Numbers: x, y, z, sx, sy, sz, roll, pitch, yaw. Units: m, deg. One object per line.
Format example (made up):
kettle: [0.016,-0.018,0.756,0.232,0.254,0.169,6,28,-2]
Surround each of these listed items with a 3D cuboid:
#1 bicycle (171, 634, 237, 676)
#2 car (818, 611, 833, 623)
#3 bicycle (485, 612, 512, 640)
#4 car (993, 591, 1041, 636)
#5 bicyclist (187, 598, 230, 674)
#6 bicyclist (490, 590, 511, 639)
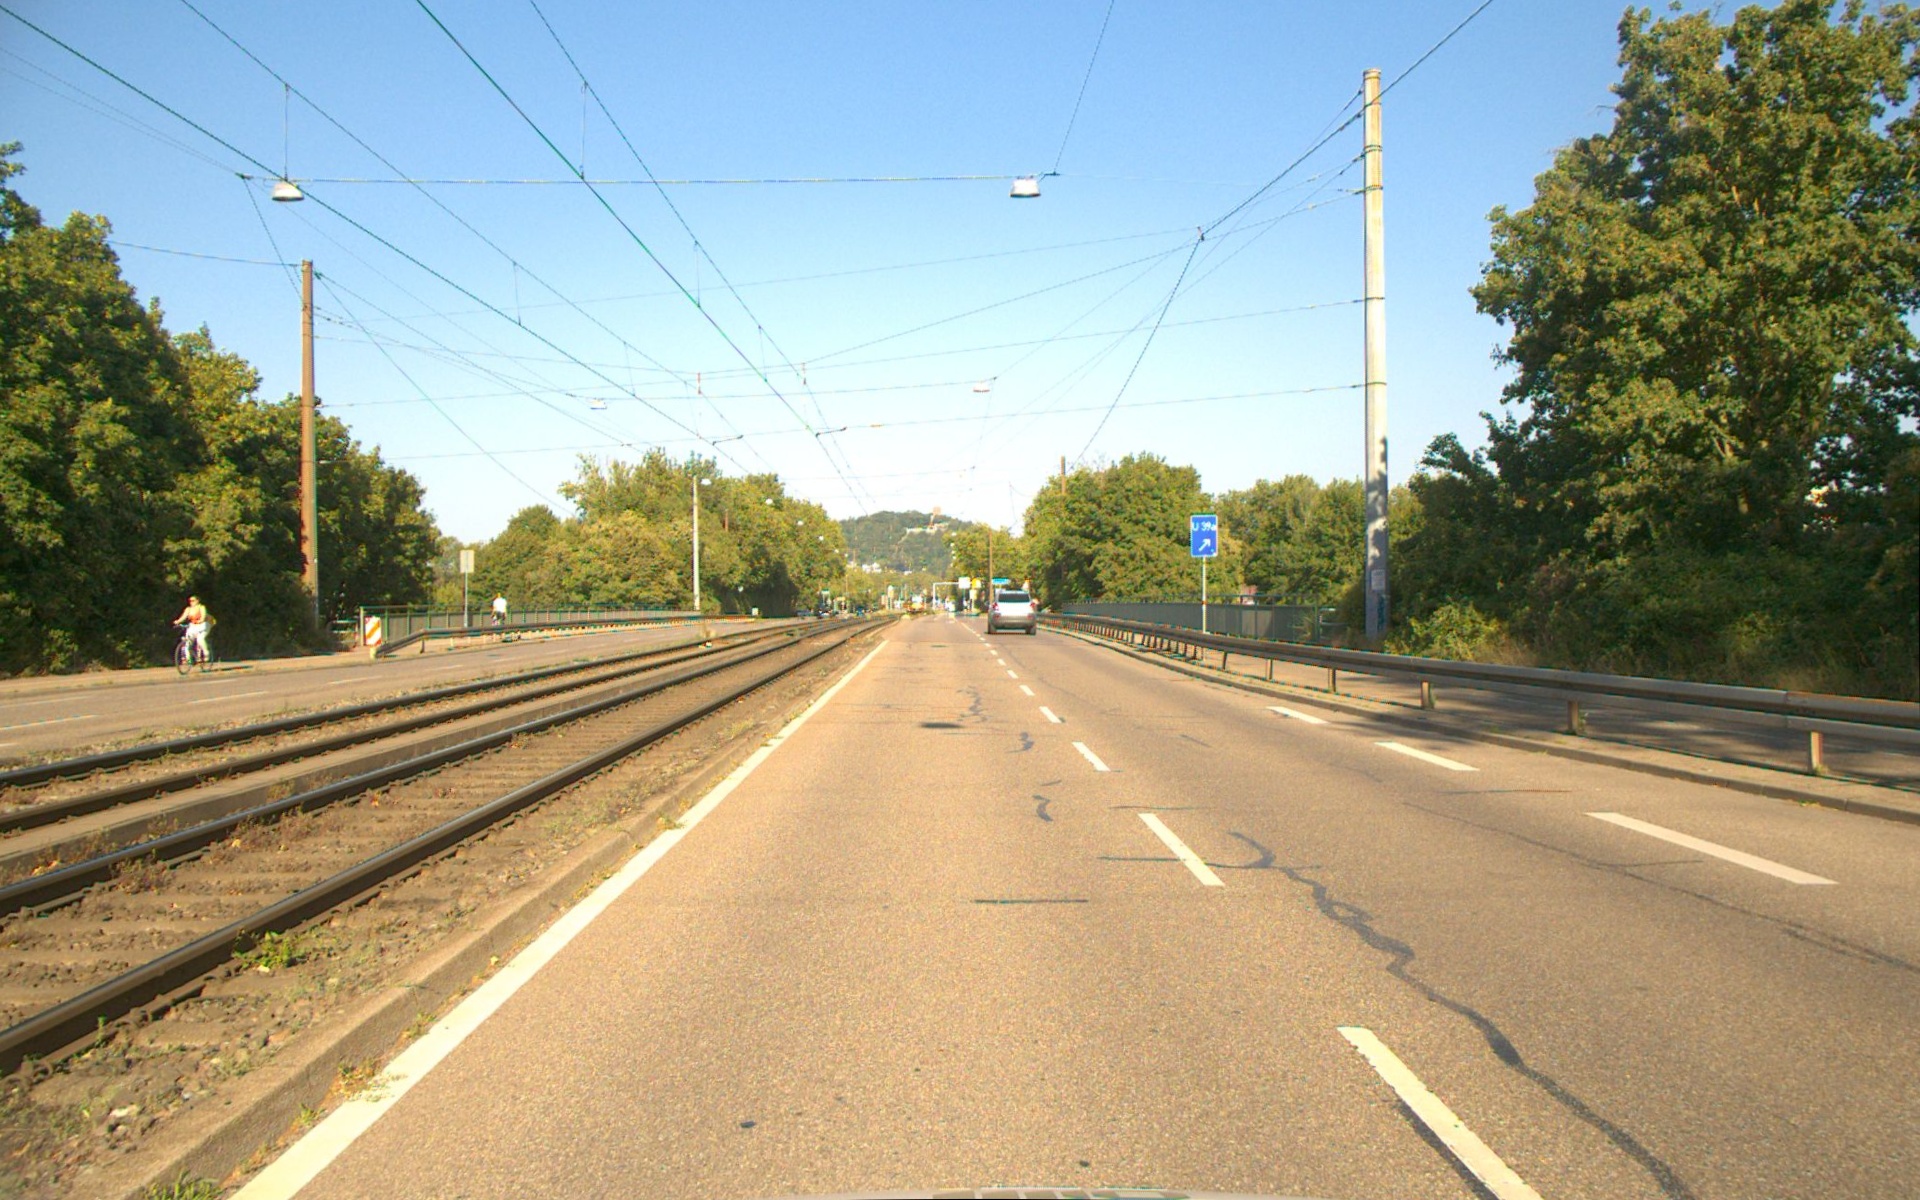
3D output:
bicycle: [-17.276,1.244,37.829,0.497,0.908,2.028,1,0,2]
car: [-19.404,2.495,238.449,1.953,1.646,3.999,2,0,-1]
bicycle: [-18.247,1.016,65.445,0.529,1.062,1.924,1,0,-1]
car: [2.243,0.543,65.674,1.849,1.723,4.257,0,0,1]
bicyclist: [-17.258,0.816,38.002,0.497,1.717,0.919,1,-1,2]
bicyclist: [-18.234,0.571,65.635,0.529,1.895,0.875,1,-1,-1]
